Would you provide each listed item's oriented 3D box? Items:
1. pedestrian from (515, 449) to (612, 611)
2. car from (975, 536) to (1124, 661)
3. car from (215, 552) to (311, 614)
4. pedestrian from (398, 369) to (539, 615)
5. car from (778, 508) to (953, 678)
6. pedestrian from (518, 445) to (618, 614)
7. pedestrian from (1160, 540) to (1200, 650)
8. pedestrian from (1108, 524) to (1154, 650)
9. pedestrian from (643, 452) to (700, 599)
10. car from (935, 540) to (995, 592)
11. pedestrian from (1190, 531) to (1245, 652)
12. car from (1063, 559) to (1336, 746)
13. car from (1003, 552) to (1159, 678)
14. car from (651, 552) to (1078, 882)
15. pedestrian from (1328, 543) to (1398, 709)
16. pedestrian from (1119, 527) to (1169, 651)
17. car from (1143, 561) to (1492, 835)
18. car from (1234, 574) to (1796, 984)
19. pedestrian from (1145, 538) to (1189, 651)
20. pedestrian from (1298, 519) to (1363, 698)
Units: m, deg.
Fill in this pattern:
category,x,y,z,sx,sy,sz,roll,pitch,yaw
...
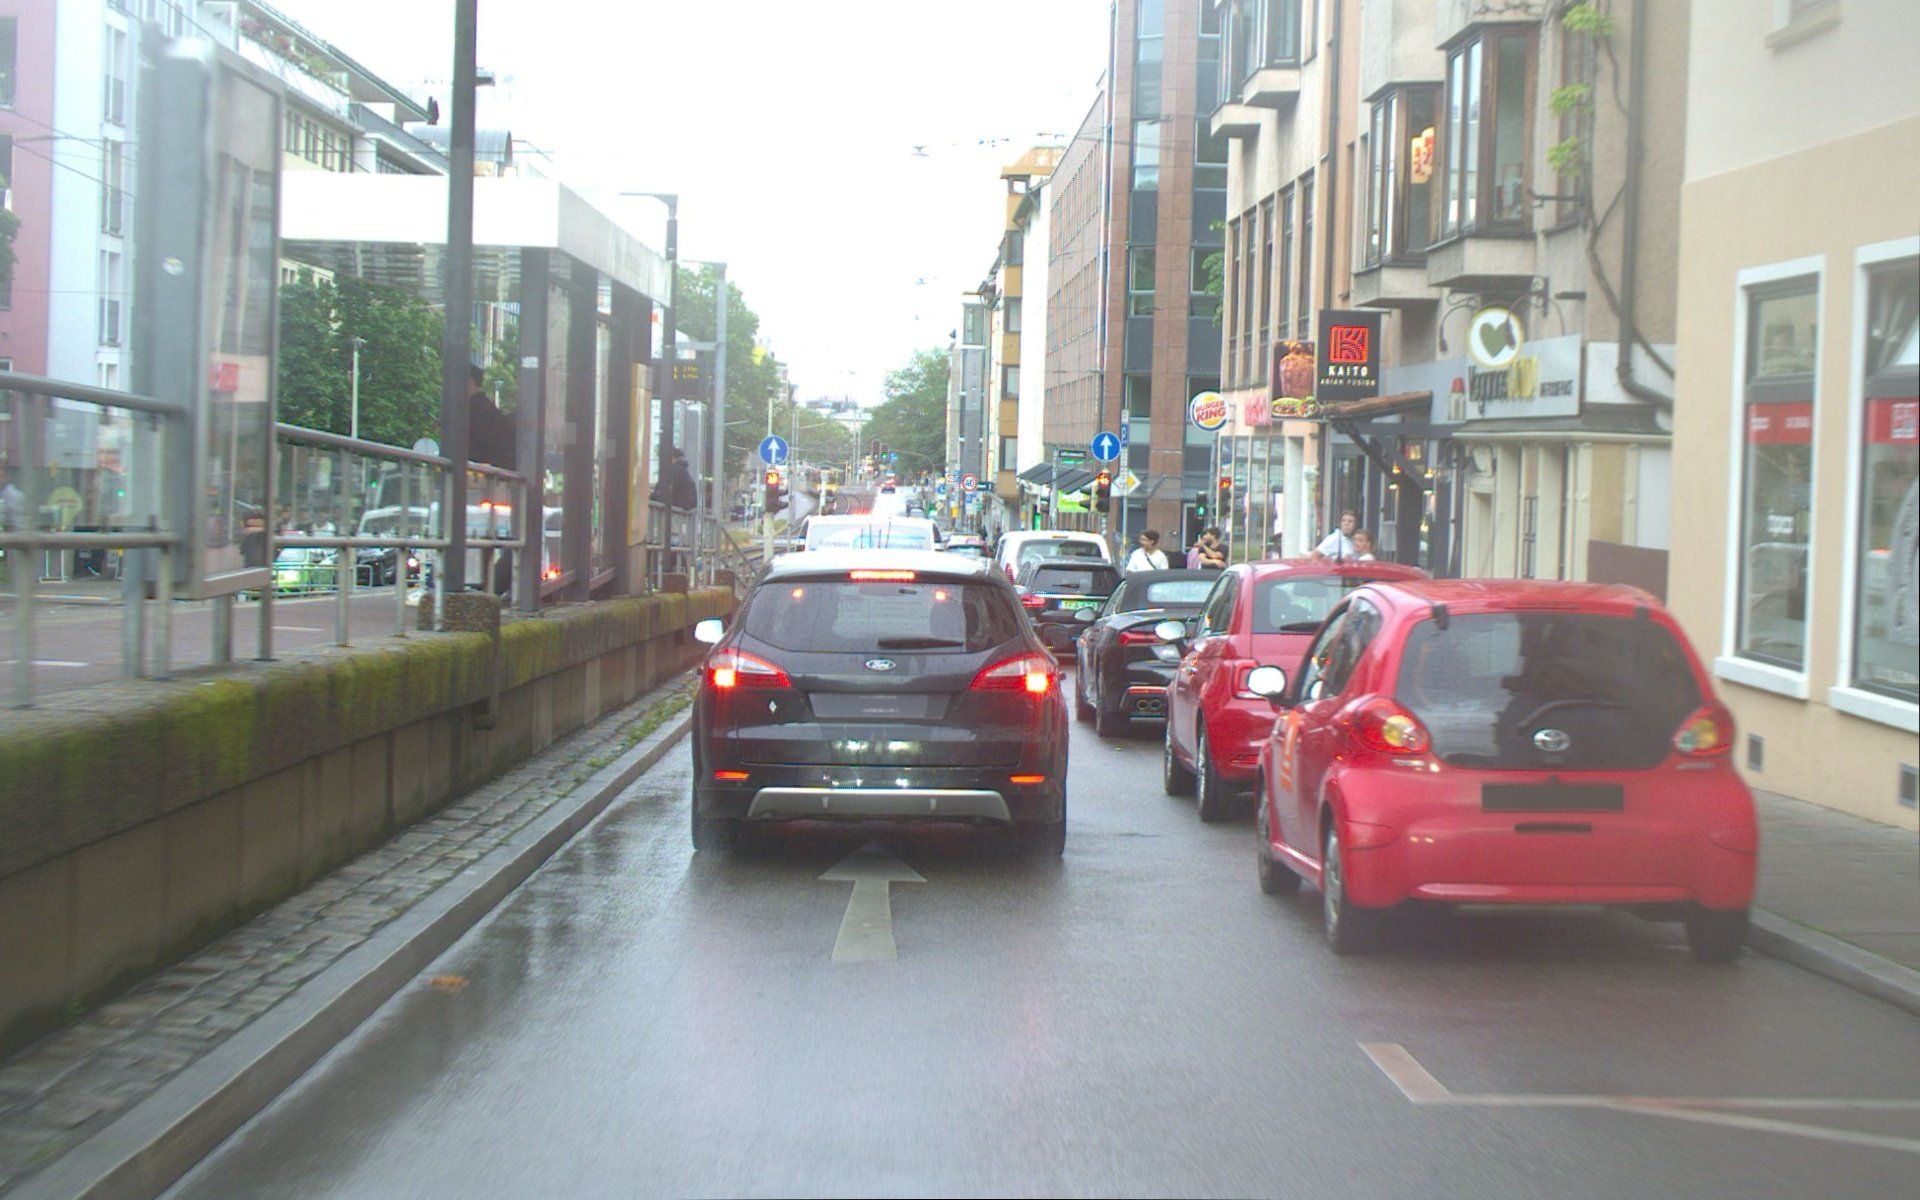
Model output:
category,x,y,z,sx,sy,sz,roll,pitch,yaw
pedestrian,-3.231,-0.566,28.060,0.727,1.297,0.701,1,0,-3
car,1.332,-0.048,53.259,1.906,1.800,4.778,1,1,-3
car,-15.850,-0.404,78.312,1.638,1.334,3.736,1,1,-4
pedestrian,-3.506,-0.765,24.582,0.916,1.718,0.701,1,0,-3
car,-1.082,-0.100,40.565,1.906,1.858,4.574,1,1,-1
pedestrian,-3.078,-0.551,27.072,0.727,1.297,0.701,1,0,-3
pedestrian,3.443,-0.086,53.751,0.576,1.708,0.477,1,0,0
pedestrian,2.657,-0.202,53.487,0.651,1.941,0.533,1,0,0
pedestrian,-3.188,-0.818,38.037,0.583,1.604,0.701,1,0,-3
car,0.157,-1.015,101.970,1.698,1.474,3.867,-1,1,0
pedestrian,3.890,-0.135,51.952,0.756,1.813,0.588,1,0,0
car,1.978,0.399,29.572,1.906,1.457,4.246,1,1,-2
car,1.615,0.172,47.225,1.906,1.610,4.414,1,1,-1
car,-0.452,0.514,17.346,1.906,1.457,3.445,1,1,-1
pedestrian,4.125,0.260,35.204,0.544,1.675,0.596,1,0,-9
pedestrian,2.770,-0.163,51.754,0.695,1.848,0.652,1,0,0
car,2.036,0.517,20.417,1.645,1.457,3.414,1,1,-1
car,2.173,0.642,14.324,1.716,1.457,3.445,1,1,-1
pedestrian,3.153,-0.088,52.375,0.610,1.708,0.581,1,0,0
pedestrian,3.869,0.082,35.918,0.528,1.852,0.557,1,0,-9
